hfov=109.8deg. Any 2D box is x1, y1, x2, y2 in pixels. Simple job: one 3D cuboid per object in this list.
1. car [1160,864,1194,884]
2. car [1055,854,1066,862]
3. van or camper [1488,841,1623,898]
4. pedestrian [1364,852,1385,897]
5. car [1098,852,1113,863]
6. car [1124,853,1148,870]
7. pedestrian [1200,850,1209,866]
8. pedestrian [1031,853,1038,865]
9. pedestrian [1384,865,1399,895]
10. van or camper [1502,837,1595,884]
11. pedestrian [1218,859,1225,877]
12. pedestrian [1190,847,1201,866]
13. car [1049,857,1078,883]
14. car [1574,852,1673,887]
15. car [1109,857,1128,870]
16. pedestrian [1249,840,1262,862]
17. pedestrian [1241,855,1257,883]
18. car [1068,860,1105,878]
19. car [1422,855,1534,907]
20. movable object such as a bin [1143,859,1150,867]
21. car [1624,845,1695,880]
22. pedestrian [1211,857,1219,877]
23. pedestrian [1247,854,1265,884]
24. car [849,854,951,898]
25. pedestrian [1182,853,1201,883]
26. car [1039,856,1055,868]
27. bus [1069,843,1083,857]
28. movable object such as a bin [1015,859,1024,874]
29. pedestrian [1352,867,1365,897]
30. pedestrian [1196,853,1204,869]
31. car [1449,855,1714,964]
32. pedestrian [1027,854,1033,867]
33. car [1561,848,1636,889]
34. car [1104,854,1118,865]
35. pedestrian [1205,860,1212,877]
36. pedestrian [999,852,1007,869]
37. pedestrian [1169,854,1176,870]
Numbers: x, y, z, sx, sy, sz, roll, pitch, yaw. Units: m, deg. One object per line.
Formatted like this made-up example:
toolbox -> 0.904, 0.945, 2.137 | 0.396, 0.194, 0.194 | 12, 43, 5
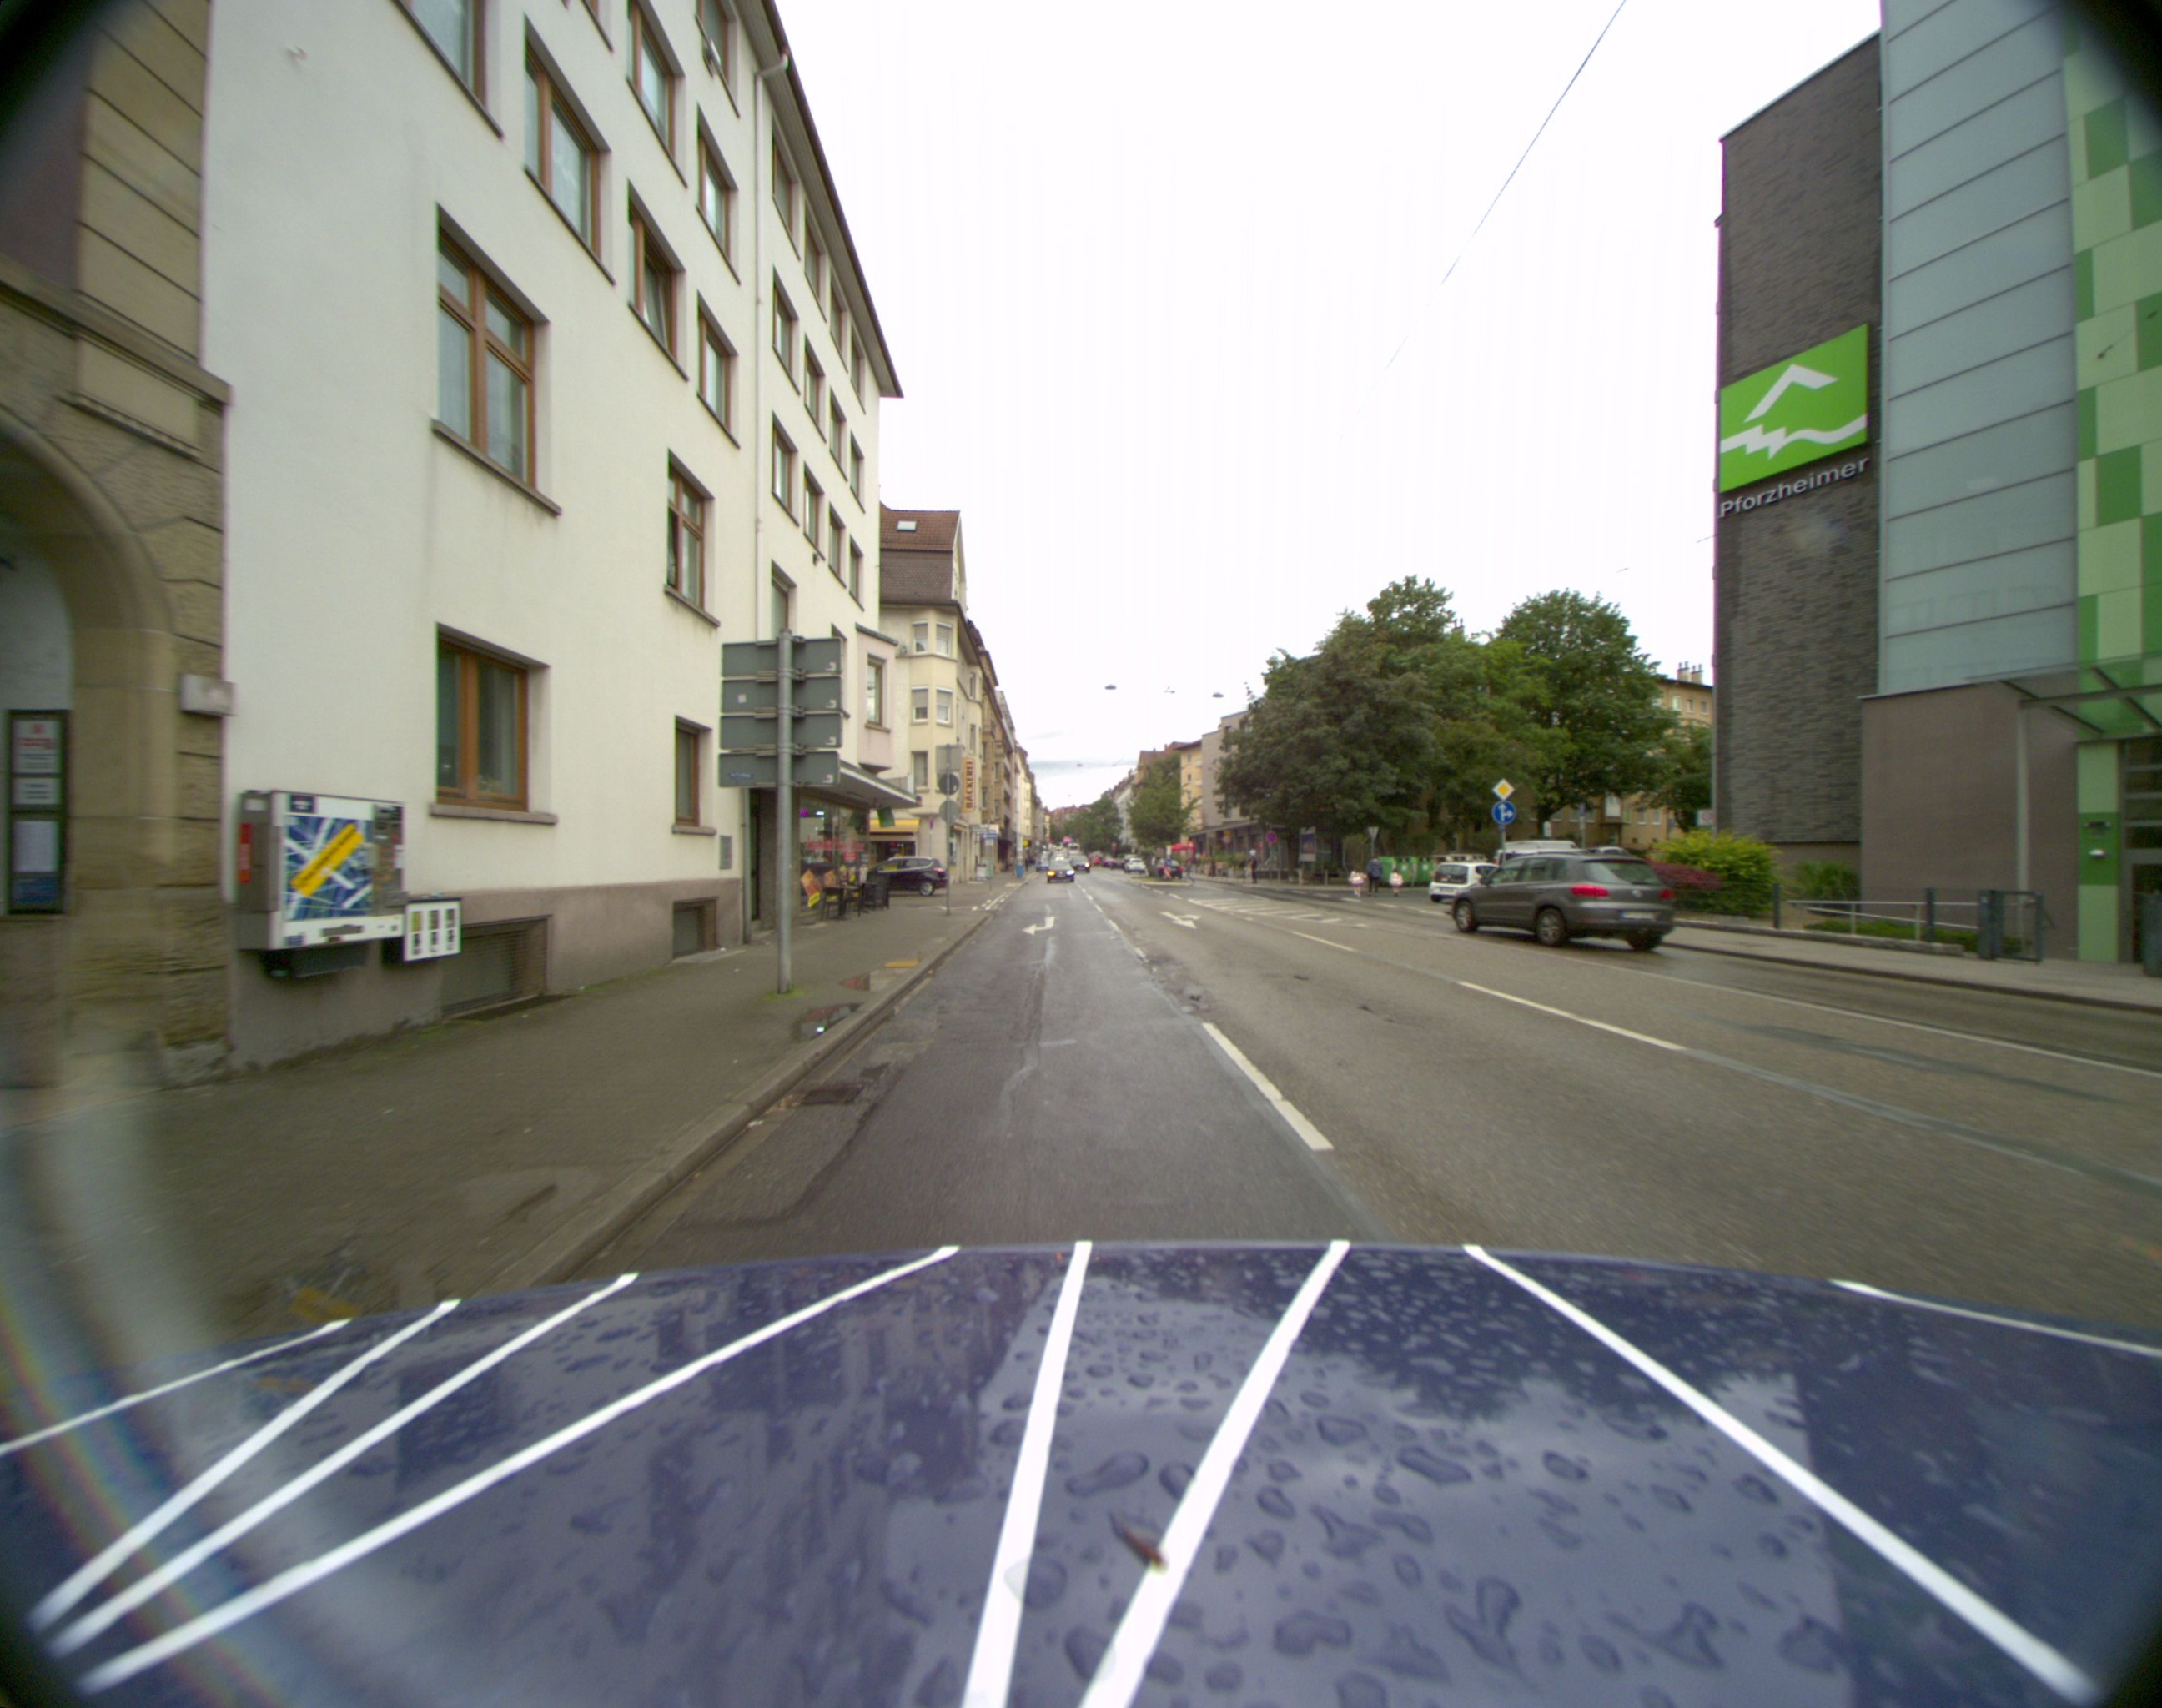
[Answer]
car -> 7.609, 1.564, 60.674 | 2.019, 1.417, 4.499 | -1, 0, -2
car -> -3.957, 0.789, 147.237 | 1.960, 1.547, 4.242 | 1, -1, -4
van or camper -> 18.451, 0.593, 29.506 | 4.974, 2.001, 1.996 | -1, -1, -25
pedestrian -> 11.598, 0.815, 30.044 | 0.576, 1.752, 0.581 | 0, 0, -8
car -> 4.173, 0.514, 130.391 | 2.112, 1.754, 5.058 | 1, 0, -2
car -> 5.496, 0.789, 76.921 | 1.825, 1.559, 4.088 | 4, -1, -3
pedestrian -> 12.793, 0.428, 78.741 | 0.712, 1.668, 0.801 | -1, 0, 26
pedestrian -> -7.242, 0.774, 118.821 | 0.855, 1.738, 1.062 | 1, 0, -15
pedestrian -> 12.260, 1.031, 30.006 | 0.410, 1.191, 0.358 | 0, 0, -8
van or camper -> 24.516, 0.313, 39.843 | 4.625, 2.253, 2.207 | -2, 0, -31
pedestrian -> 11.488, 1.122, 62.173 | 0.461, 1.465, 0.530 | -1, 0, -6
pedestrian -> 11.079, 0.272, 73.640 | 0.724, 1.815, 0.721 | -1, 0, -21
car -> -1.107, 0.994, 49.669 | 1.734, 1.538, 3.981 | 1, 1, 0
car -> 23.383, 0.645, 32.746 | 3.734, 1.435, 1.995 | 0, 0, -28
car -> 4.874, 1.237, 98.941 | 1.960, 1.547, 4.242 | 1, -1, -4
pedestrian -> 14.812, -0.248, 64.579 | 0.724, 1.815, 0.720 | -1, 0, -30
pedestrian -> 10.642, 0.938, 48.078 | 0.658, 1.748, 0.719 | 0, 0, -25
car -> 0.570, 1.473, 75.125 | 1.852, 1.646, 4.213 | -1, -1, 28
car -> 14.059, 0.903, 26.896 | 3.594, 1.561, 1.737 | -3, 2, -27
movable object such as a bin -> 9.535, 1.332, 110.563 | 0.743, 1.052, 0.811 | -1, 1, -27
car -> 35.202, 0.491, 46.204 | 4.006, 2.002, 1.995 | -2, 1, -30
pedestrian -> 10.971, 1.053, 62.259 | 0.499, 1.663, 0.552 | -1, 0, -6
pedestrian -> 10.894, 0.927, 47.312 | 0.863, 1.834, 0.693 | 0, 0, -16
car -> -7.788, 0.921, 33.010 | 4.152, 1.761, 1.871 | -1, 0, -11
pedestrian -> 6.636, 0.848, 45.733 | 0.724, 1.815, 0.853 | -1, 0, -25
car -> -4.177, 0.997, 92.850 | 1.739, 1.302, 3.767 | -2, 0, 0
bus -> -1.254, -1.051, 187.200 | 2.813, 3.227, 11.956 | 4, 0, -3
movable object such as a bin -> -7.514, 1.483, 93.085 | 1.002, 1.783, 1.295 | 0, 1, -4
pedestrian -> 10.944, 1.098, 29.962 | 0.410, 1.191, 0.311 | 0, 0, -8
pedestrian -> 12.475, 0.746, 79.902 | 0.715, 1.668, 0.713 | -1, 0, -3
car -> 8.743, 0.867, 13.798 | 1.954, 1.649, 4.055 | 1, 0, -3
pedestrian -> -6.250, 0.802, 93.529 | 0.627, 1.642, 0.748 | 3, -1, -2
car -> 29.677, 0.798, 43.534 | 4.007, 2.242, 1.995 | 0, 0, -30
car -> 4.547, 0.811, 115.222 | 1.959, 1.503, 4.912 | -3, 1, 3
pedestrian -> 10.445, 1.157, 62.229 | 0.434, 1.402, 0.481 | -1, 0, -6
pedestrian -> -7.387, 0.615, 72.095 | 0.563, 1.563, 0.626 | -1, 0, -18
pedestrian -> 10.687, 0.898, 88.527 | 0.591, 1.808, 0.870 | -1, 0, -11
